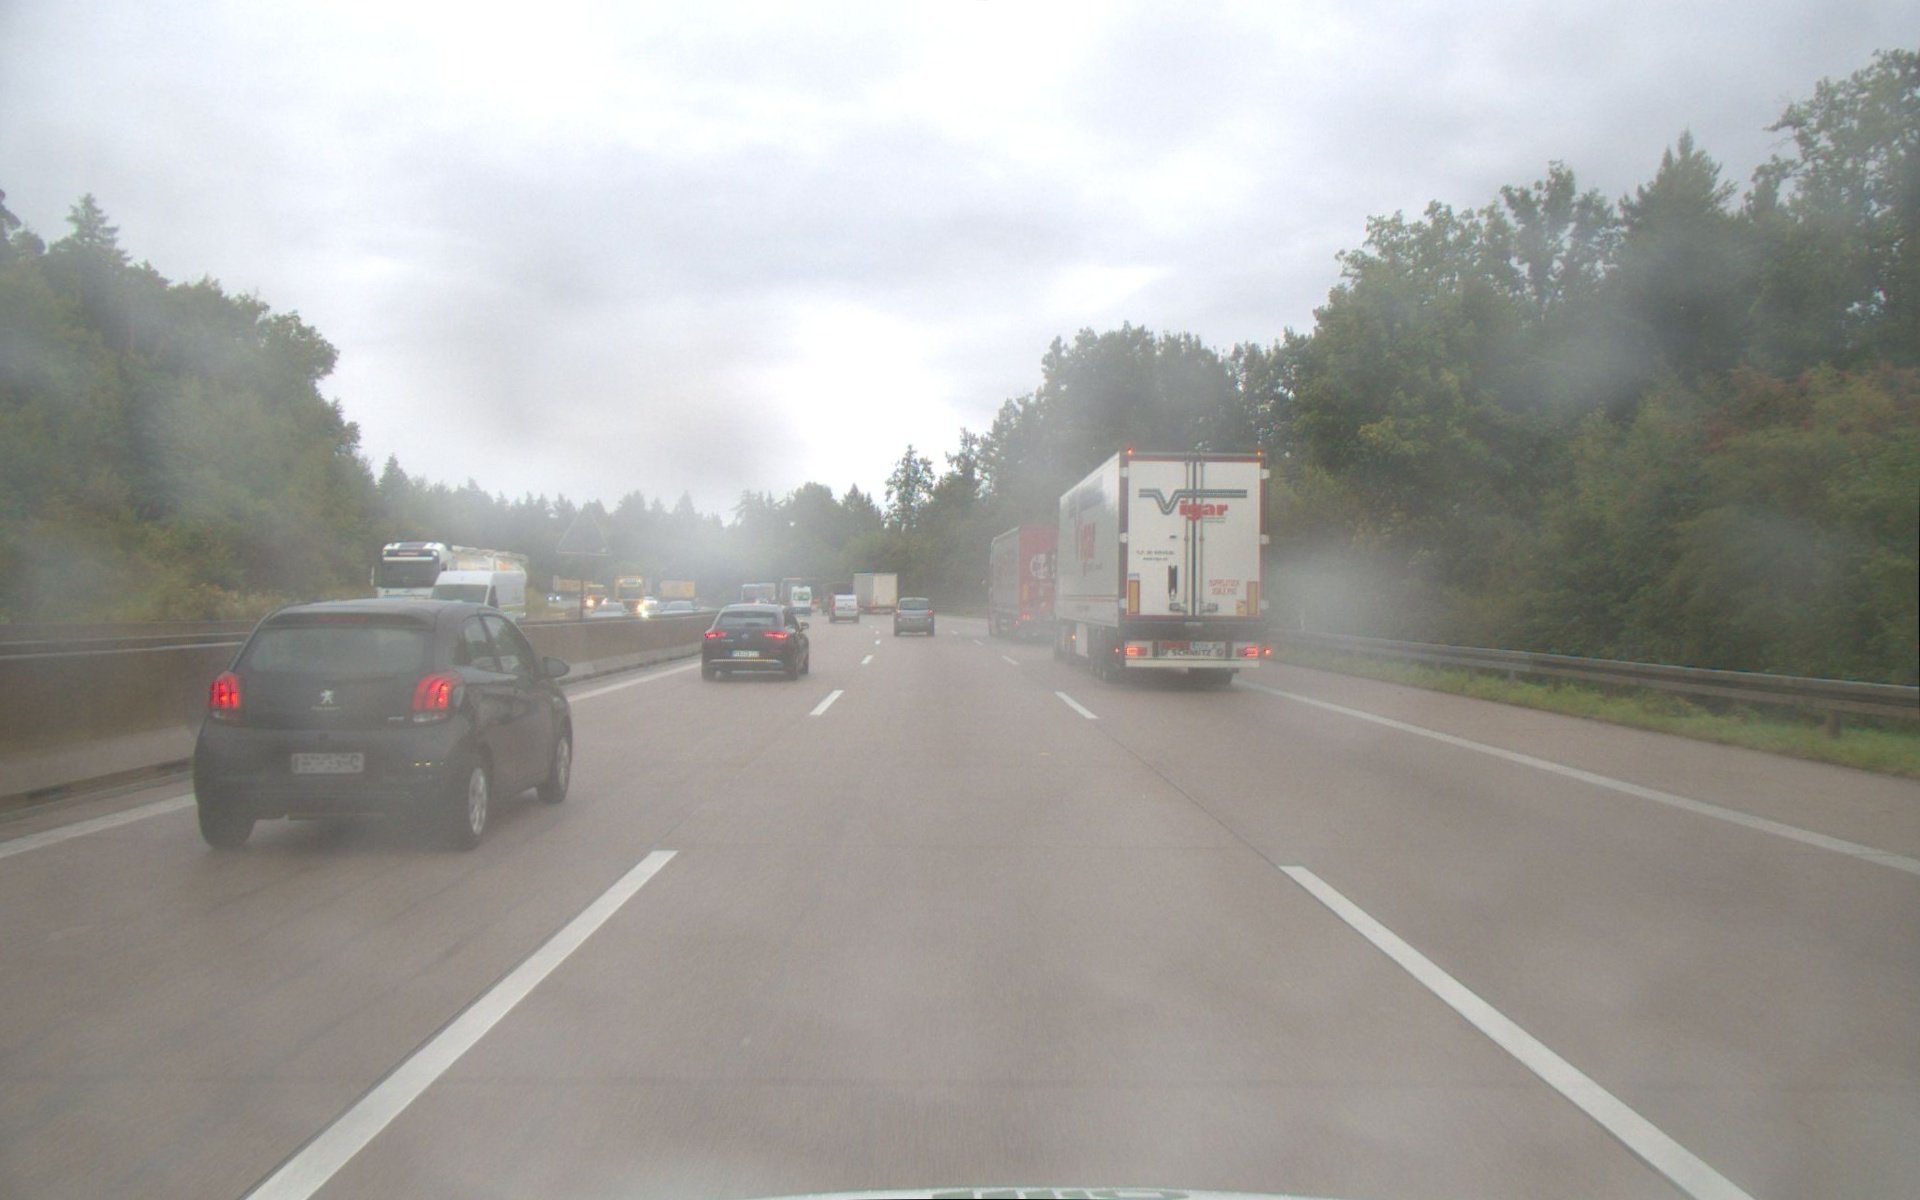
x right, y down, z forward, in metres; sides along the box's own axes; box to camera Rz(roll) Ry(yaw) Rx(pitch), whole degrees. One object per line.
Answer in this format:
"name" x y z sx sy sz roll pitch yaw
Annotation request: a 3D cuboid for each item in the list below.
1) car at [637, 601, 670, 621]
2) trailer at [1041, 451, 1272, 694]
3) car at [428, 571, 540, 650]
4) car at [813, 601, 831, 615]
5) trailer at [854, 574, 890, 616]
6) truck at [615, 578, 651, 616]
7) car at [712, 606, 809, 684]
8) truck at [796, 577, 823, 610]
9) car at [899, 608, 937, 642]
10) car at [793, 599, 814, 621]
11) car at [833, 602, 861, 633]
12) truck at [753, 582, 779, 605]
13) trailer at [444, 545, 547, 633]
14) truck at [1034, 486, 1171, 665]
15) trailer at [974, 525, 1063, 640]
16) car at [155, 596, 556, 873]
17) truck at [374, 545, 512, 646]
"car" -21.626 0.790 116.673 1.766 1.357 4.561 1 0 -4
"trailer" 3.726 -0.488 35.341 2.679 4.175 13.675 0 0 -3
"car" -15.878 0.323 55.599 1.953 2.492 6.743 0 0 -1
"car" -15.420 0.847 185.043 1.845 1.499 3.996 2 0 -4
"trailer" -8.937 -0.564 167.212 2.375 4.139 12.030 0 1 -9
"truck" -34.045 -0.316 172.418 2.968 3.942 8.104 0 0 -7
"car" -3.846 0.834 32.352 1.522 1.375 3.682 2 0 -2
"truck" -19.910 -0.911 218.189 3.305 4.203 10.422 0 1 -7
"car" -1.835 1.071 71.322 1.522 1.375 3.682 2 0 -2
"car" -14.906 0.936 157.802 1.954 2.095 3.996 -1 0 -5
"car" -7.647 1.153 111.560 1.692 2.049 3.651 -1 0 -7
"truck" -26.374 -0.923 225.253 3.022 2.956 7.897 1 1 -4
"trailer" -20.716 -0.454 74.239 2.494 3.731 8.227 0 0 -2
"truck" 3.461 -0.590 41.637 2.742 4.175 5.965 0 0 -2
"trailer" 2.131 -0.626 64.827 2.323 4.023 12.512 1 0 -3
"car" -3.761 0.748 10.939 1.652 1.488 3.678 2 0 -7
"truck" -20.476 -0.171 66.189 2.512 3.731 10.487 0 0 -2
